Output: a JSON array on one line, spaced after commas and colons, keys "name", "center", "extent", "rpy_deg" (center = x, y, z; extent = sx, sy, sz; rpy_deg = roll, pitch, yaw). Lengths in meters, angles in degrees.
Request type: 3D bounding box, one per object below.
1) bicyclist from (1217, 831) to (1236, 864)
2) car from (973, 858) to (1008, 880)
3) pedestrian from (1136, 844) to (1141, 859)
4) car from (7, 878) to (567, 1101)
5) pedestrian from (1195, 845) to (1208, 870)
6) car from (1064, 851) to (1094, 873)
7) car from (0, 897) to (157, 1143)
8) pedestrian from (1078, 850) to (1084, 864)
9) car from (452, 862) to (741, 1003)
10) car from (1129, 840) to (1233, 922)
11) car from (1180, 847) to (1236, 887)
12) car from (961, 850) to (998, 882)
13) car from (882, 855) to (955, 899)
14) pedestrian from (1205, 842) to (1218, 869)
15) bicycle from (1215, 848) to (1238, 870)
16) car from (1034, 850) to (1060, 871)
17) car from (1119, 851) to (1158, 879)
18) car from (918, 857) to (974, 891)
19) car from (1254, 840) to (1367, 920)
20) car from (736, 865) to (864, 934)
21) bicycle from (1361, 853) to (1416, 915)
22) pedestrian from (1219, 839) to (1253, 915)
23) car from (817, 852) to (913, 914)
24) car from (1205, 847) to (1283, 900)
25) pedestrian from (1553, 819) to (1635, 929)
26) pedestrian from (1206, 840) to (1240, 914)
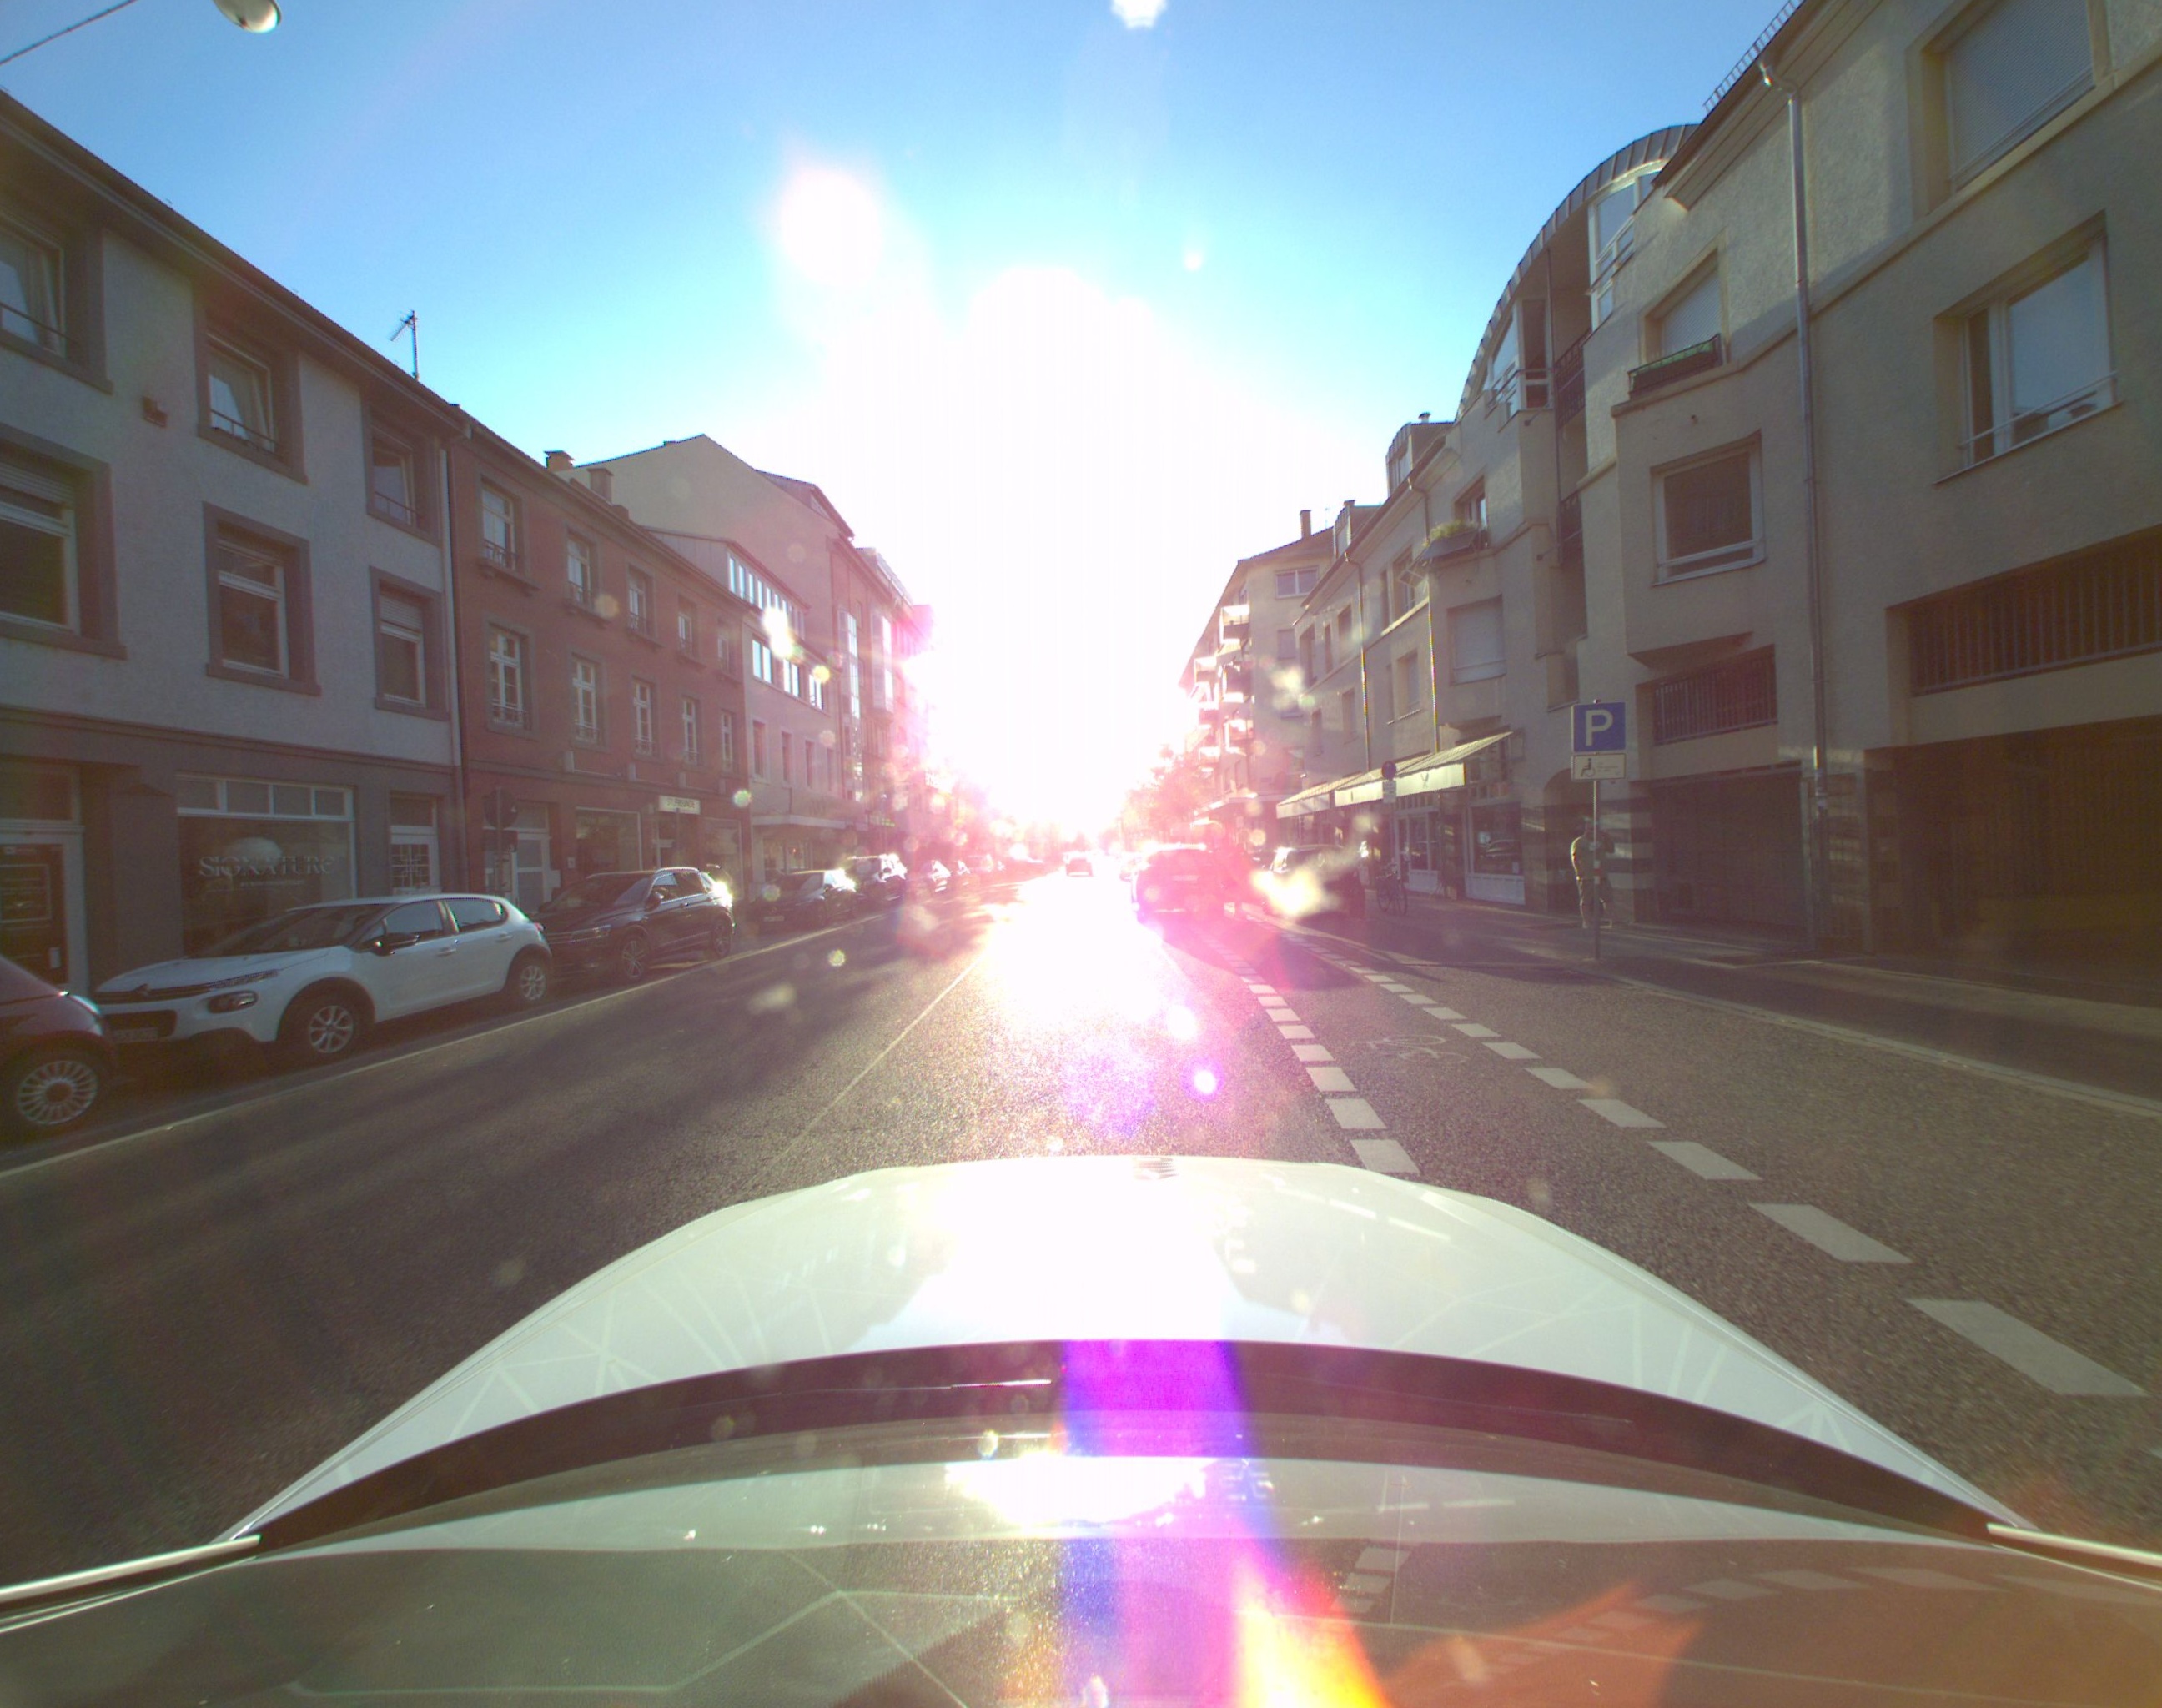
[{"name": "bicyclist", "center": [7.728, -0.320, 43.380], "extent": [0.650, 1.702, 1.093], "rpy_deg": [-2, 0, -6]}, {"name": "car", "center": [-6.203, 1.017, 56.155], "extent": [1.827, 1.328, 4.124], "rpy_deg": [-3, 1, 0]}, {"name": "pedestrian", "center": [6.862, -0.330, 97.357], "extent": [0.496, 1.715, 0.459], "rpy_deg": [-2, 1, -19]}, {"name": "car", "center": [-7.598, 1.141, 8.481], "extent": [1.767, 1.515, 3.952], "rpy_deg": [-4, 0, 2]}, {"name": "pedestrian", "center": [7.848, 0.219, 52.899], "extent": [0.685, 1.559, 0.863], "rpy_deg": [-2, 0, 2]}, {"name": "car", "center": [-0.110, 0.543, 56.404], "extent": [1.876, 1.415, 4.327], "rpy_deg": [-2, 0, 2]}, {"name": "car", "center": [-7.831, 1.152, 4.296], "extent": [1.767, 1.515, 3.486], "rpy_deg": [-4, 0, 2]}, {"name": "pedestrian", "center": [0.030, 0.370, 98.645], "extent": [0.576, 1.644, 0.524], "rpy_deg": [-3, 1, -20]}, {"name": "car", "center": [-7.238, 1.056, 12.788], "extent": [1.767, 1.633, 4.240], "rpy_deg": [-4, 0, 2]}, {"name": "car", "center": [2.191, 0.544, 19.062], "extent": [1.987, 1.655, 4.675], "rpy_deg": [-1, 0, 2]}, {"name": "car", "center": [5.006, 0.474, 32.516], "extent": [1.697, 1.436, 3.933], "rpy_deg": [-3, 0, 2]}, {"name": "car", "center": [-6.210, 0.706, 50.061], "extent": [1.828, 1.854, 4.120], "rpy_deg": [-2, 0, -2]}, {"name": "car", "center": [-6.820, 0.929, 34.747], "extent": [1.820, 1.556, 5.138], "rpy_deg": [-4, 0, 2]}, {"name": "pedestrian", "center": [8.459, 0.097, 52.764], "extent": [0.684, 1.721, 0.718], "rpy_deg": [-3, 0, 7]}, {"name": "bicycle", "center": [7.729, 0.260, 43.448], "extent": [0.649, 1.155, 1.928], "rpy_deg": [-2, 0, -6]}, {"name": "car", "center": [-2.910, 0.555, 71.455], "extent": [1.915, 1.601, 4.327], "rpy_deg": [-2, 1, 2]}, {"name": "car", "center": [3.021, 0.547, 43.713], "extent": [1.915, 1.415, 4.550], "rpy_deg": [0, 0, 2]}, {"name": "car", "center": [-6.658, 0.941, 40.727], "extent": [1.821, 1.439, 4.555], "rpy_deg": [-5, 0, 1]}, {"name": "car", "center": [4.989, 0.526, 18.014], "extent": [1.628, 1.553, 2.693], "rpy_deg": [-3, 0, -1]}, {"name": "car", "center": [-7.285, 1.124, 21.610], "extent": [1.707, 1.440, 4.311], "rpy_deg": [-4, 0, 1]}, {"name": "bicycle", "center": [6.548, 0.601, 17.414], "extent": [0.396, 1.234, 1.825], "rpy_deg": [-3, 0, -1]}, {"name": "pedestrian", "center": [3.501, 0.517, 18.408], "extent": [0.443, 1.665, 0.561], "rpy_deg": [-3, 0, -24]}, {"name": "car", "center": [-7.268, 0.889, 28.014], "extent": [1.822, 1.810, 5.347], "rpy_deg": [-4, 0, -1]}, {"name": "car", "center": [4.922, 0.547, 24.977], "extent": [1.628, 1.424, 3.758], "rpy_deg": [-3, 0, 1]}, {"name": "pedestrian", "center": [8.113, 0.310, 12.911], "extent": [0.806, 1.646, 0.607], "rpy_deg": [-5, -1, 8]}, {"name": "pedestrian", "center": [3.299, 0.521, 18.932], "extent": [0.443, 1.665, 0.561], "rpy_deg": [-3, 0, -24]}]
